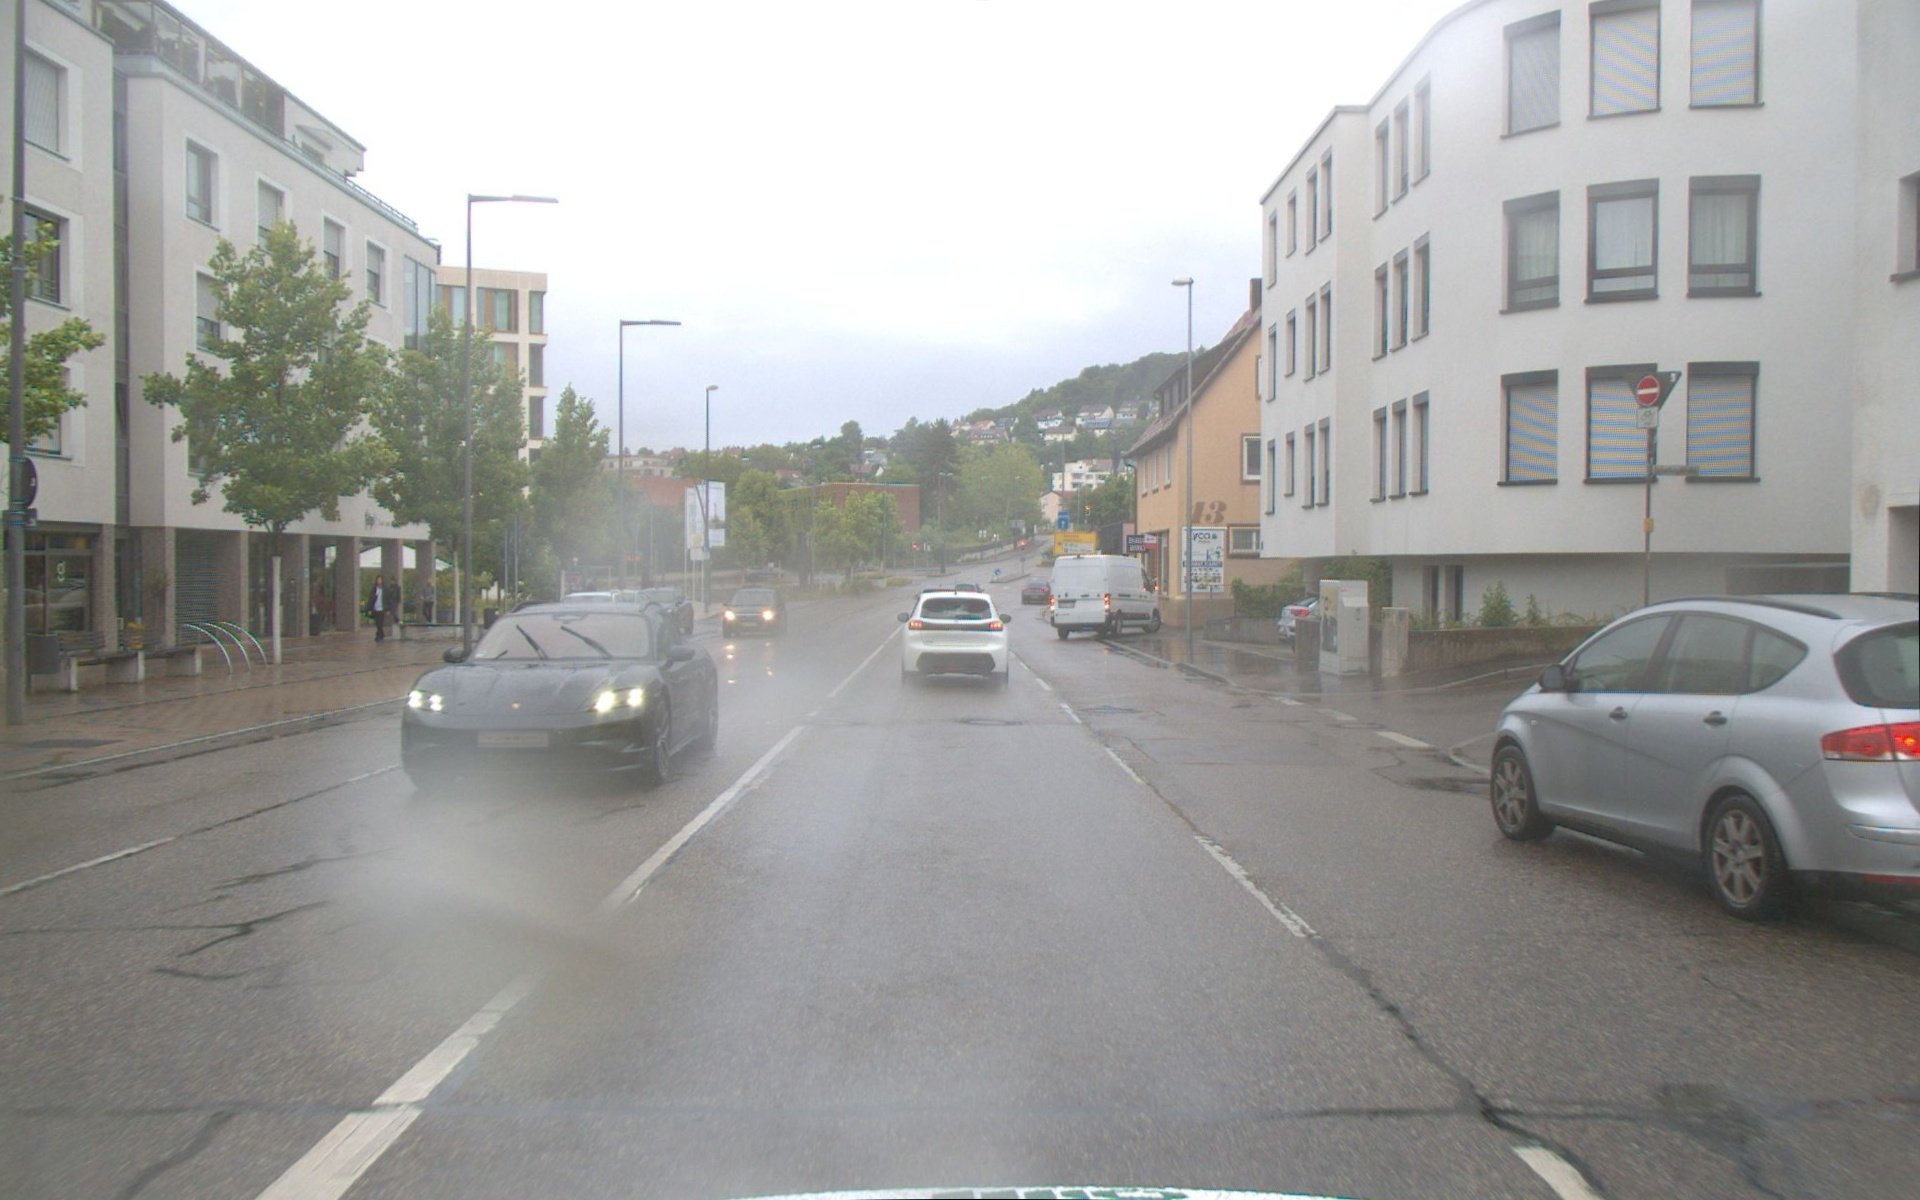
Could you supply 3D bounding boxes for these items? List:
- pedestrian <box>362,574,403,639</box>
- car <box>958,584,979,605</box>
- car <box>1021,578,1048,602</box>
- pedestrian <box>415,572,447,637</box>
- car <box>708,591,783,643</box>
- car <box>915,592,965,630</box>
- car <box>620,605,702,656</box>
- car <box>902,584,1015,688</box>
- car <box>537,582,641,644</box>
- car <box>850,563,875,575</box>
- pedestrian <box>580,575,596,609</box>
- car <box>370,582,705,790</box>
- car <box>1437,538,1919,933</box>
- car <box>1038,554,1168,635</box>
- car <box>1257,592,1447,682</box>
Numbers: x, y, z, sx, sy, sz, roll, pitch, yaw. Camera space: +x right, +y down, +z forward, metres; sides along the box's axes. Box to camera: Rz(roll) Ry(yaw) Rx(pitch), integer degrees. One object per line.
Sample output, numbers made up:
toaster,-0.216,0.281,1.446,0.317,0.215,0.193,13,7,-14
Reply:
pedestrian,-16.054,0.190,45.967,0.792,1.768,1.003,-1,-1,-1
car,0.510,-0.332,100.424,1.188,1.176,2.269,0,-1,-3
car,5.001,-0.689,111.106,1.698,1.411,3.354,1,4,1
pedestrian,-17.915,0.159,56.020,0.731,2.183,0.771,0,-1,8
car,-6.743,0.532,52.351,1.842,1.550,4.183,-1,-1,-1
car,-0.703,0.376,60.336,1.705,1.318,3.334,-1,0,1
car,-9.640,0.979,53.668,1.656,1.536,4.578,-1,-1,2
car,-0.089,0.585,26.907,1.657,1.546,3.930,0,-1,-3
car,-9.320,0.350,41.866,1.759,1.488,4.476,0,-1,-2
car,-10.443,-3.327,177.550,2.390,1.177,1.359,0,-1,-27
pedestrian,-19.576,-0.427,87.090,0.769,1.776,0.671,0,-1,-15
car,-3.331,0.635,13.942,1.732,1.438,4.524,-1,-1,-1
car,4.340,0.641,9.144,1.971,1.650,4.357,1,-2,-3
car,4.686,-0.138,53.090,2.244,2.424,6.624,-1,-1,22
car,8.783,0.807,37.278,3.716,1.556,1.820,6,1,-2
